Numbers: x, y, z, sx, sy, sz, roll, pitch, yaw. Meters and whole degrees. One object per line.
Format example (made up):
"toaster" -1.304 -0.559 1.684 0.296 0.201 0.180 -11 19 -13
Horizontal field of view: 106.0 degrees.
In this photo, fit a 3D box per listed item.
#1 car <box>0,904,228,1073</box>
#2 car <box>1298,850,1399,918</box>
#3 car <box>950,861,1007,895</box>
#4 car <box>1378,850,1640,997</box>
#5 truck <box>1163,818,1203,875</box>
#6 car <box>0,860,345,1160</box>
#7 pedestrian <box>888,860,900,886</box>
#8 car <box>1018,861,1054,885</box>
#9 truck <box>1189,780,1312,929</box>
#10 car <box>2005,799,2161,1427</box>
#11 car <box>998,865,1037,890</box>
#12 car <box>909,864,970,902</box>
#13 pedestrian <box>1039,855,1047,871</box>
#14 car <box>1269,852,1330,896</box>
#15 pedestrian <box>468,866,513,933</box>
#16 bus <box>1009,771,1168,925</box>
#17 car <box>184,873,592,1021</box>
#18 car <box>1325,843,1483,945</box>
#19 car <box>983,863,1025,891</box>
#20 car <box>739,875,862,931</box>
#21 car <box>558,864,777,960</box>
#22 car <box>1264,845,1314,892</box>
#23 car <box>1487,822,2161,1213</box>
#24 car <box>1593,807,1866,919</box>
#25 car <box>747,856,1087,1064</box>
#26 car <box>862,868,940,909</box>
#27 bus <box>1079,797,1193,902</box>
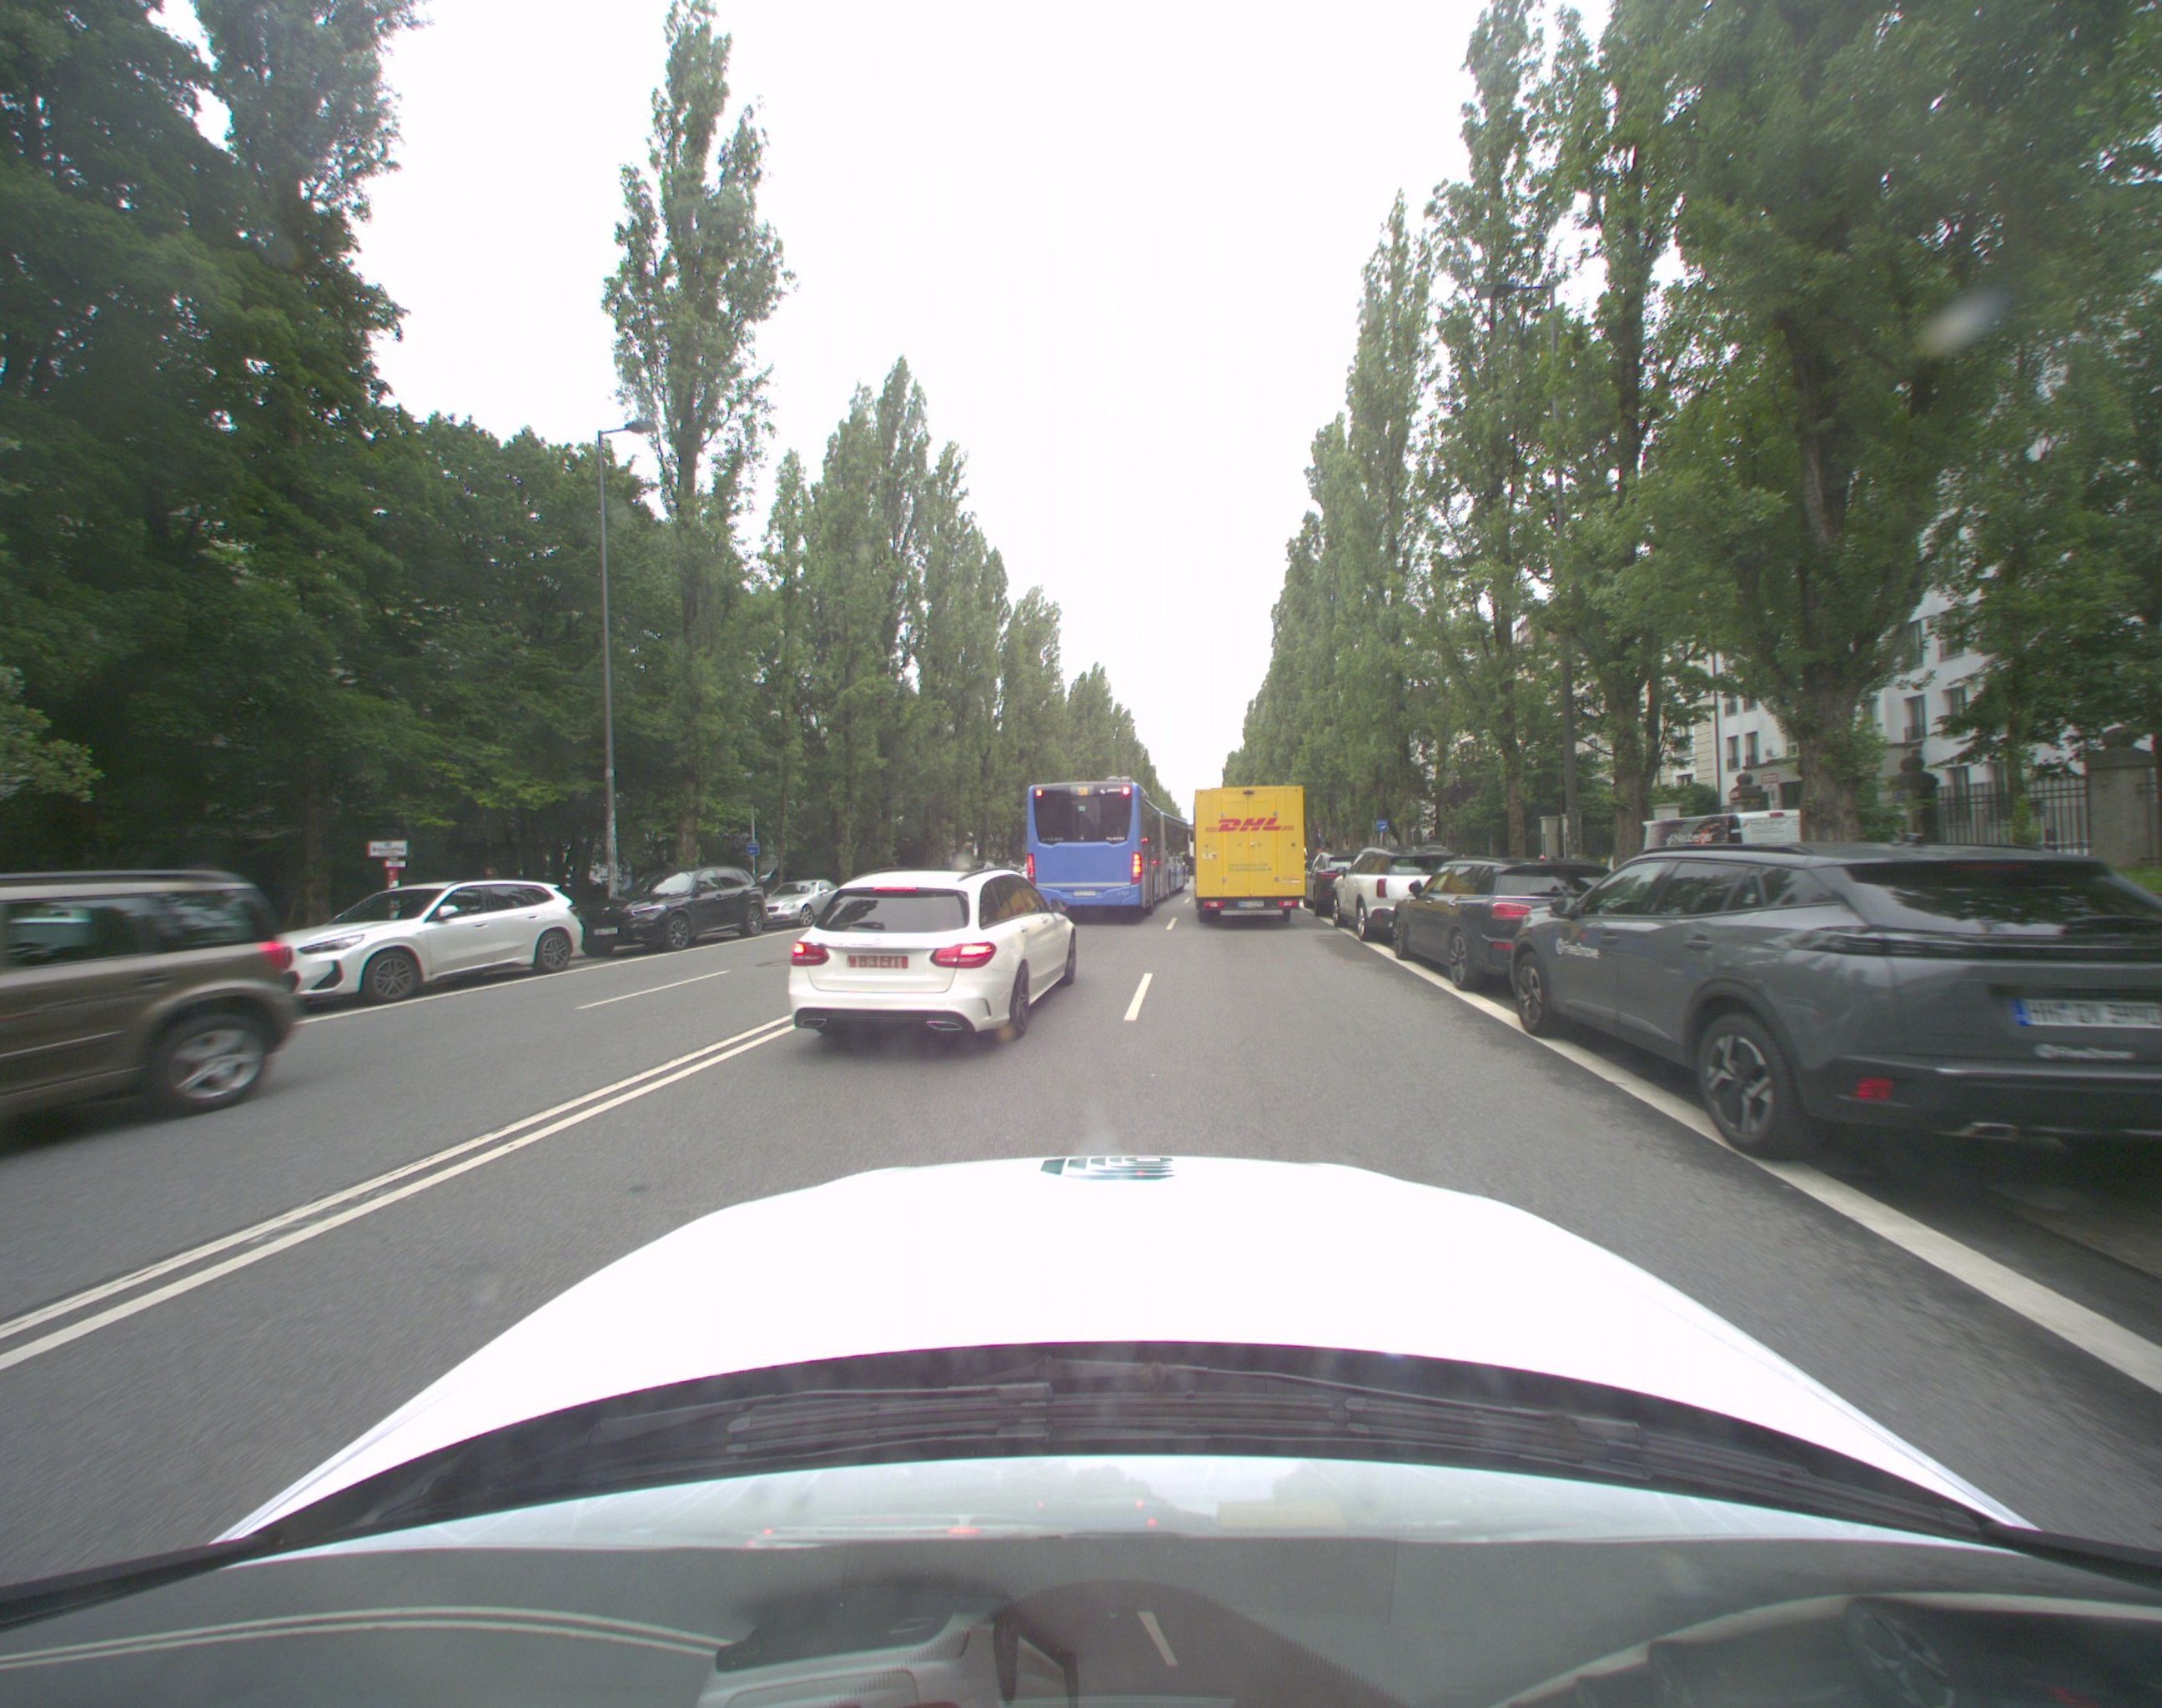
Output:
"car" -10.622 1.302 7.039 1.667 1.422 4.247 -3 -1 8
"car" 6.588 0.682 20.479 1.715 1.495 4.335 -2 0 9
"car" -5.270 1.196 42.300 1.781 1.548 4.348 -5 -1 7
"car" 5.028 0.695 10.231 1.624 1.446 4.158 1 0 8
"truck" 7.716 -0.517 61.926 2.702 3.965 9.234 -2 0 6
"car" -6.958 0.926 4.437 1.775 1.656 4.122 -3 -1 8
"pedestrian" -13.089 1.336 57.099 0.596 1.739 0.642 -2 -1 8
"car" -3.106 1.289 57.001 1.699 1.548 4.008 -2 -1 8
"truck" 3.868 0.034 19.823 2.314 2.898 7.349 -2 0 8
"car" 3.377 0.636 0.222 1.810 1.590 4.232 -1 0 8
"car" -4.057 1.492 52.564 1.666 1.413 4.008 -2 -1 8
"car" -6.305 1.270 36.715 1.736 1.519 4.121 -3 -1 3
"pedestrian" -4.839 1.093 103.027 0.826 2.014 0.779 -2 -1 6
"car" 8.359 0.724 31.486 1.852 1.552 4.010 -2 0 9
"pedestrian" -16.545 1.257 22.821 0.636 1.815 0.777 -2 -1 8
"bus" 0.613 -0.103 21.815 2.839 3.213 9.083 -1 0 9
"car" -9.850 1.205 12.178 1.775 1.588 4.473 -4 0 9
"car" 5.697 0.622 14.881 1.771 1.581 4.156 0 0 8
"car" -4.508 1.318 48.334 1.531 1.433 3.877 -5 -1 7
"car" -8.006 1.368 23.668 1.571 1.304 4.039 -4 -1 9
"car" -8.828 1.148 17.974 1.870 1.658 4.728 -4 0 7
"car" 9.361 0.637 36.927 1.795 1.976 4.247 -1 0 9
"car" 4.205 0.638 5.216 1.642 1.503 4.123 -1 0 8
"car" 13.080 0.172 17.019 1.982 1.925 5.335 -1 0 8
"car" -1.187 0.765 8.107 1.815 1.454 4.594 -1 0 9
"car" -7.019 1.315 32.175 1.676 1.413 4.013 -4 -1 7
"bus" 2.398 -0.140 30.984 2.853 3.304 9.822 -2 0 12
